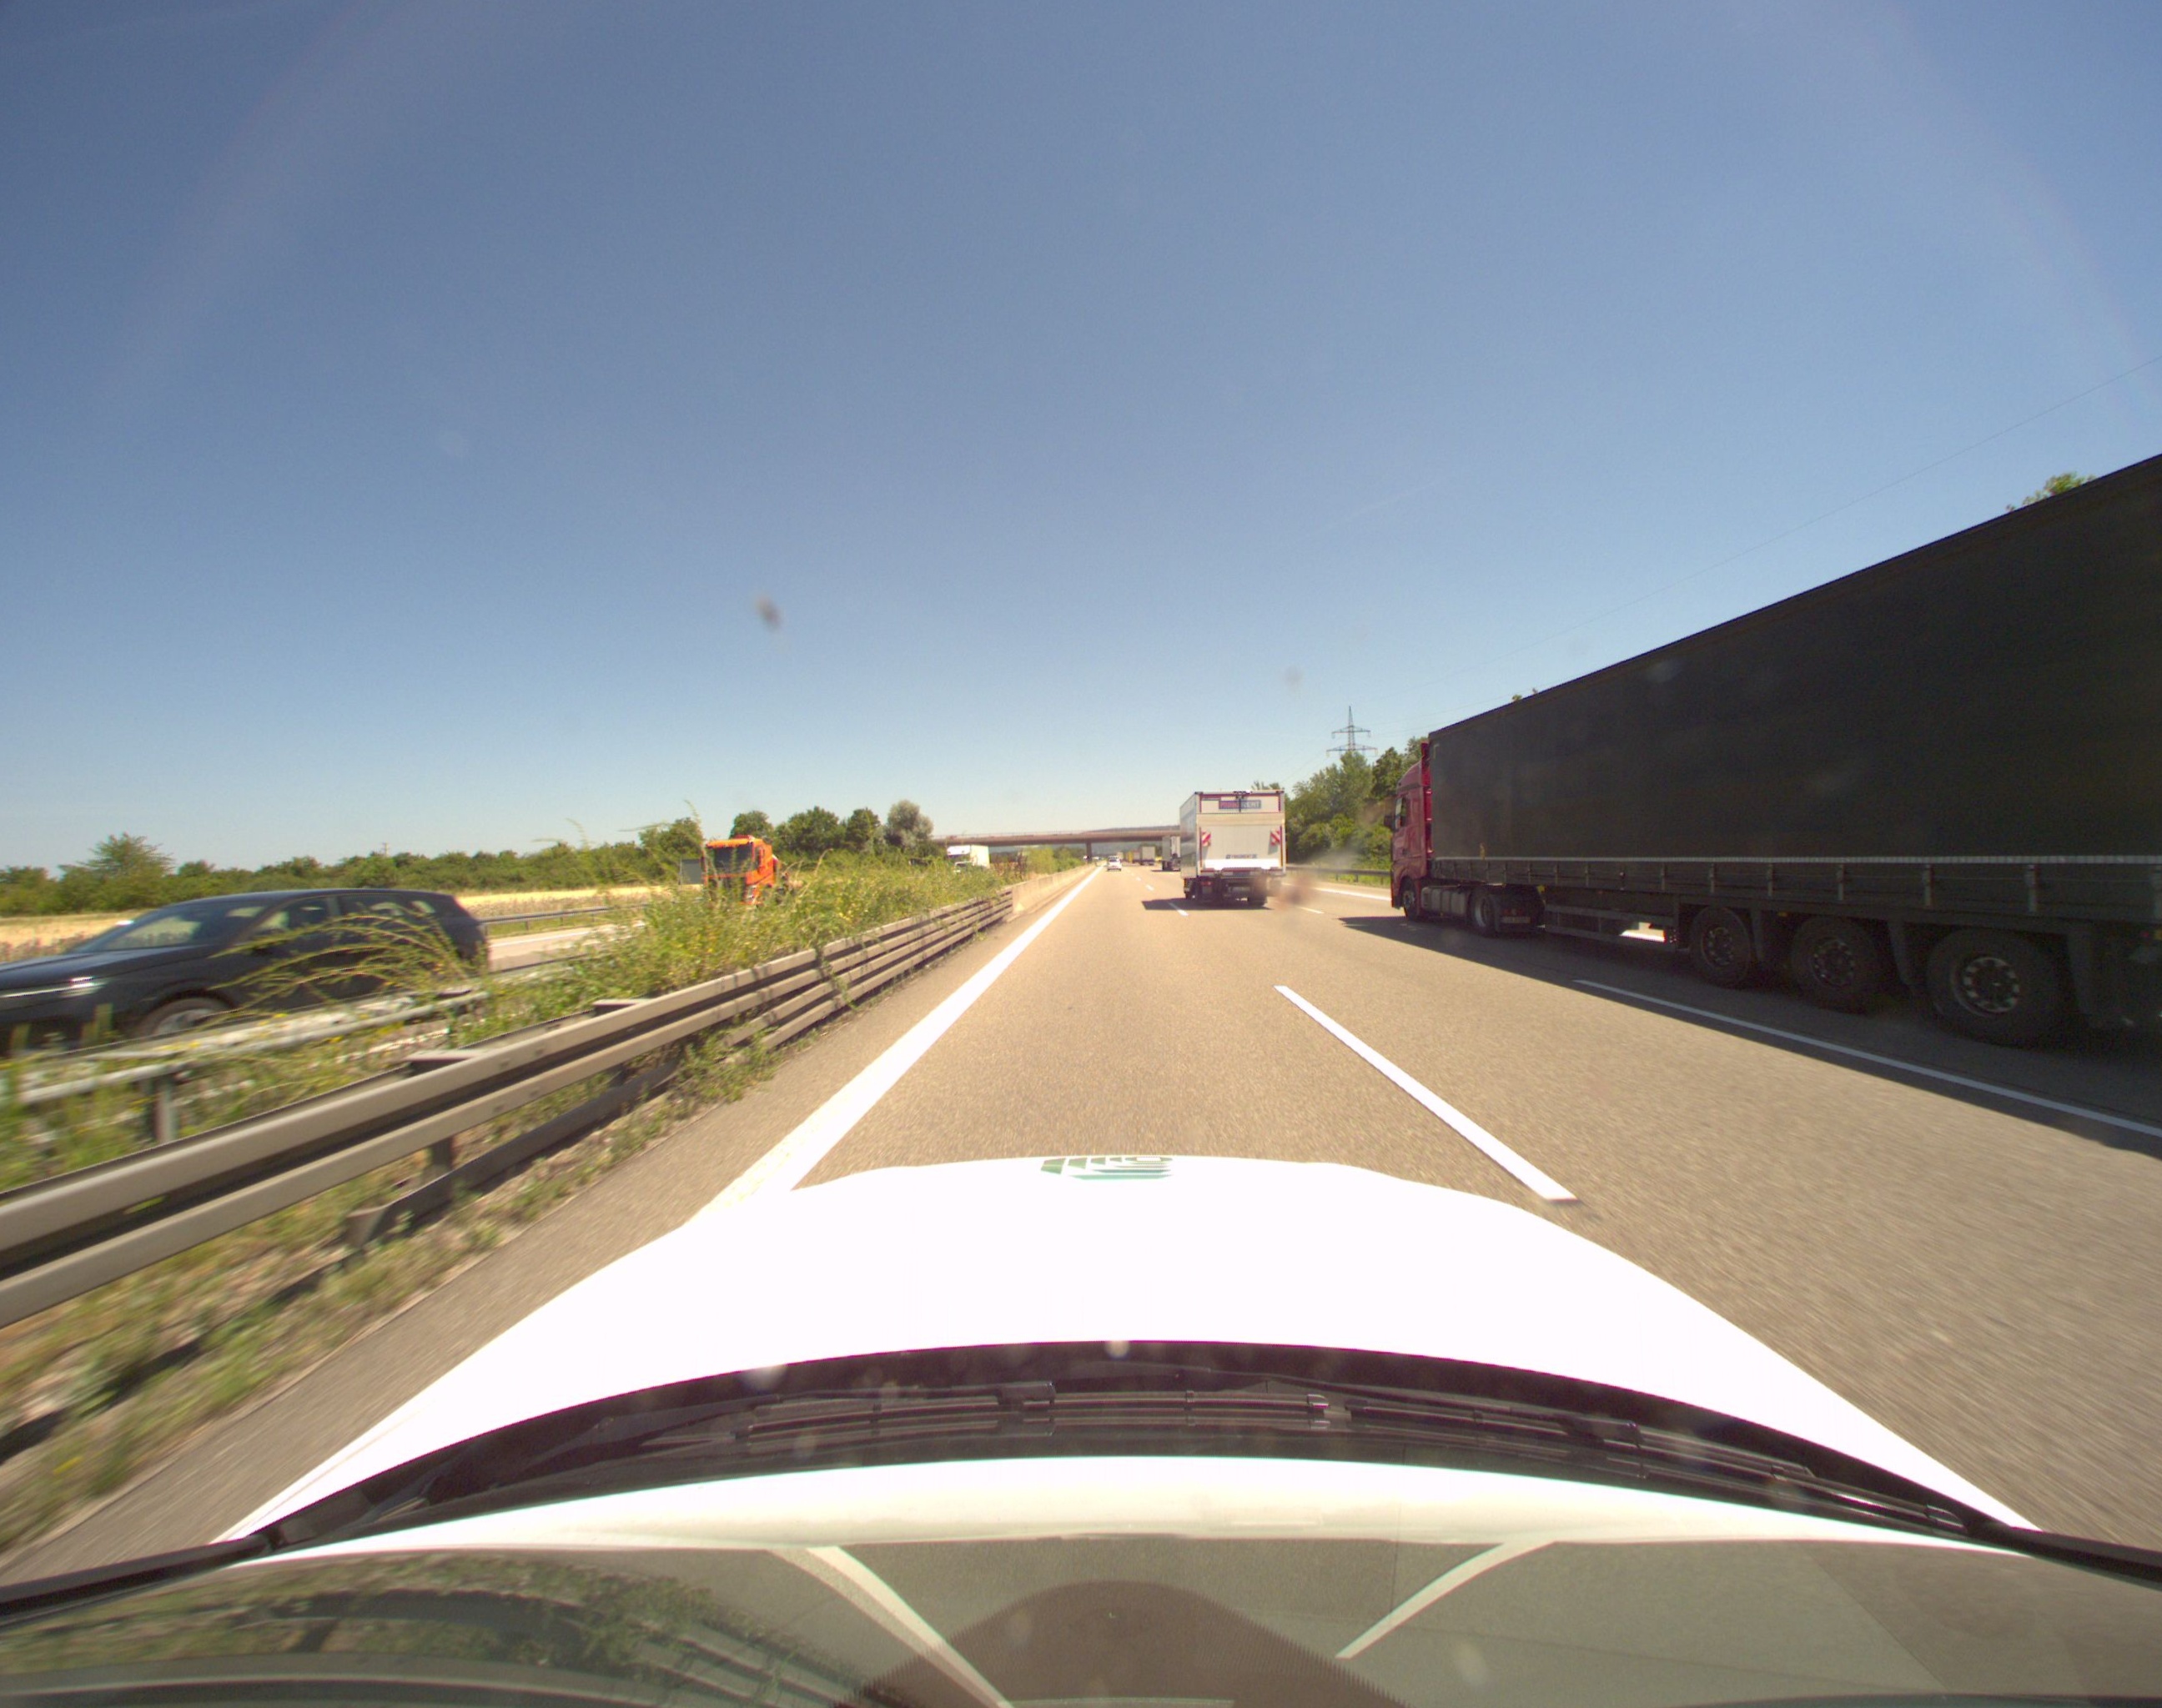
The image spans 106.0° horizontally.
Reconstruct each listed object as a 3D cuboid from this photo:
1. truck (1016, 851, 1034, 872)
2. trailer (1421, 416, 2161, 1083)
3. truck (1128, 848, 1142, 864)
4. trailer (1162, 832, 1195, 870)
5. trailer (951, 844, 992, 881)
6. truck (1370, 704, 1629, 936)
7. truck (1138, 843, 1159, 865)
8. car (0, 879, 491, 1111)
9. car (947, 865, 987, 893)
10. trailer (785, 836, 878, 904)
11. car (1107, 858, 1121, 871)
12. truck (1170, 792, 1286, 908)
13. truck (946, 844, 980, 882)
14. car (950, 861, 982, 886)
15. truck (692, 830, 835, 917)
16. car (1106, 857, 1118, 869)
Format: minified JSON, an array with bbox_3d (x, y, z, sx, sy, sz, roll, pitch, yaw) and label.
[{"bbox_3d":[-11.122,1.450,161.454,2.823,3.938,5.827,-4,0,2],"label":"truck"},{"bbox_3d":[8.330,-0.644,10.267,2.778,4.164,13.580,-1,0,2],"label":"trailer"},{"bbox_3d":[15.935,0.624,241.785,3.507,4.416,14.598,-3,0,2],"label":"truck"},{"bbox_3d":[11.328,-0.285,95.674,2.784,4.164,13.963,-1,0,2],"label":"trailer"},{"bbox_3d":[-13.268,1.016,100.041,2.685,4.014,12.971,-3,0,2],"label":"trailer"},{"bbox_3d":[8.607,-0.609,17.652,2.784,4.164,5.726,-1,0,2],"label":"truck"},{"bbox_3d":[14.154,0.082,171.943,3.507,4.416,14.598,-3,0,2],"label":"truck"},{"bbox_3d":[-8.579,1.197,8.405,1.793,1.653,4.126,-4,0,2],"label":"car"},{"bbox_3d":[-7.127,1.565,51.379,1.760,1.579,3.820,-3,0,2],"label":"car"},{"bbox_3d":[-15.188,0.935,50.418,2.642,3.661,8.540,-4,0,2],"label":"trailer"},{"bbox_3d":[4.041,1.247,100.092,1.601,1.467,4.003,-2,0,3],"label":"car"},{"bbox_3d":[4.758,-0.086,28.023,2.772,3.373,8.131,-1,-1,2],"label":"truck"},{"bbox_3d":[-13.460,0.985,93.054,2.670,4.014,5.757,-3,0,1],"label":"truck"},{"bbox_3d":[-9.971,1.639,71.072,1.875,1.987,4.740,-4,0,1],"label":"car"},{"bbox_3d":[-15.542,0.892,41.023,2.642,3.661,10.193,-4,0,2],"label":"truck"},{"bbox_3d":[5.016,1.383,131.798,1.753,1.850,4.003,-2,0,3],"label":"car"}]
